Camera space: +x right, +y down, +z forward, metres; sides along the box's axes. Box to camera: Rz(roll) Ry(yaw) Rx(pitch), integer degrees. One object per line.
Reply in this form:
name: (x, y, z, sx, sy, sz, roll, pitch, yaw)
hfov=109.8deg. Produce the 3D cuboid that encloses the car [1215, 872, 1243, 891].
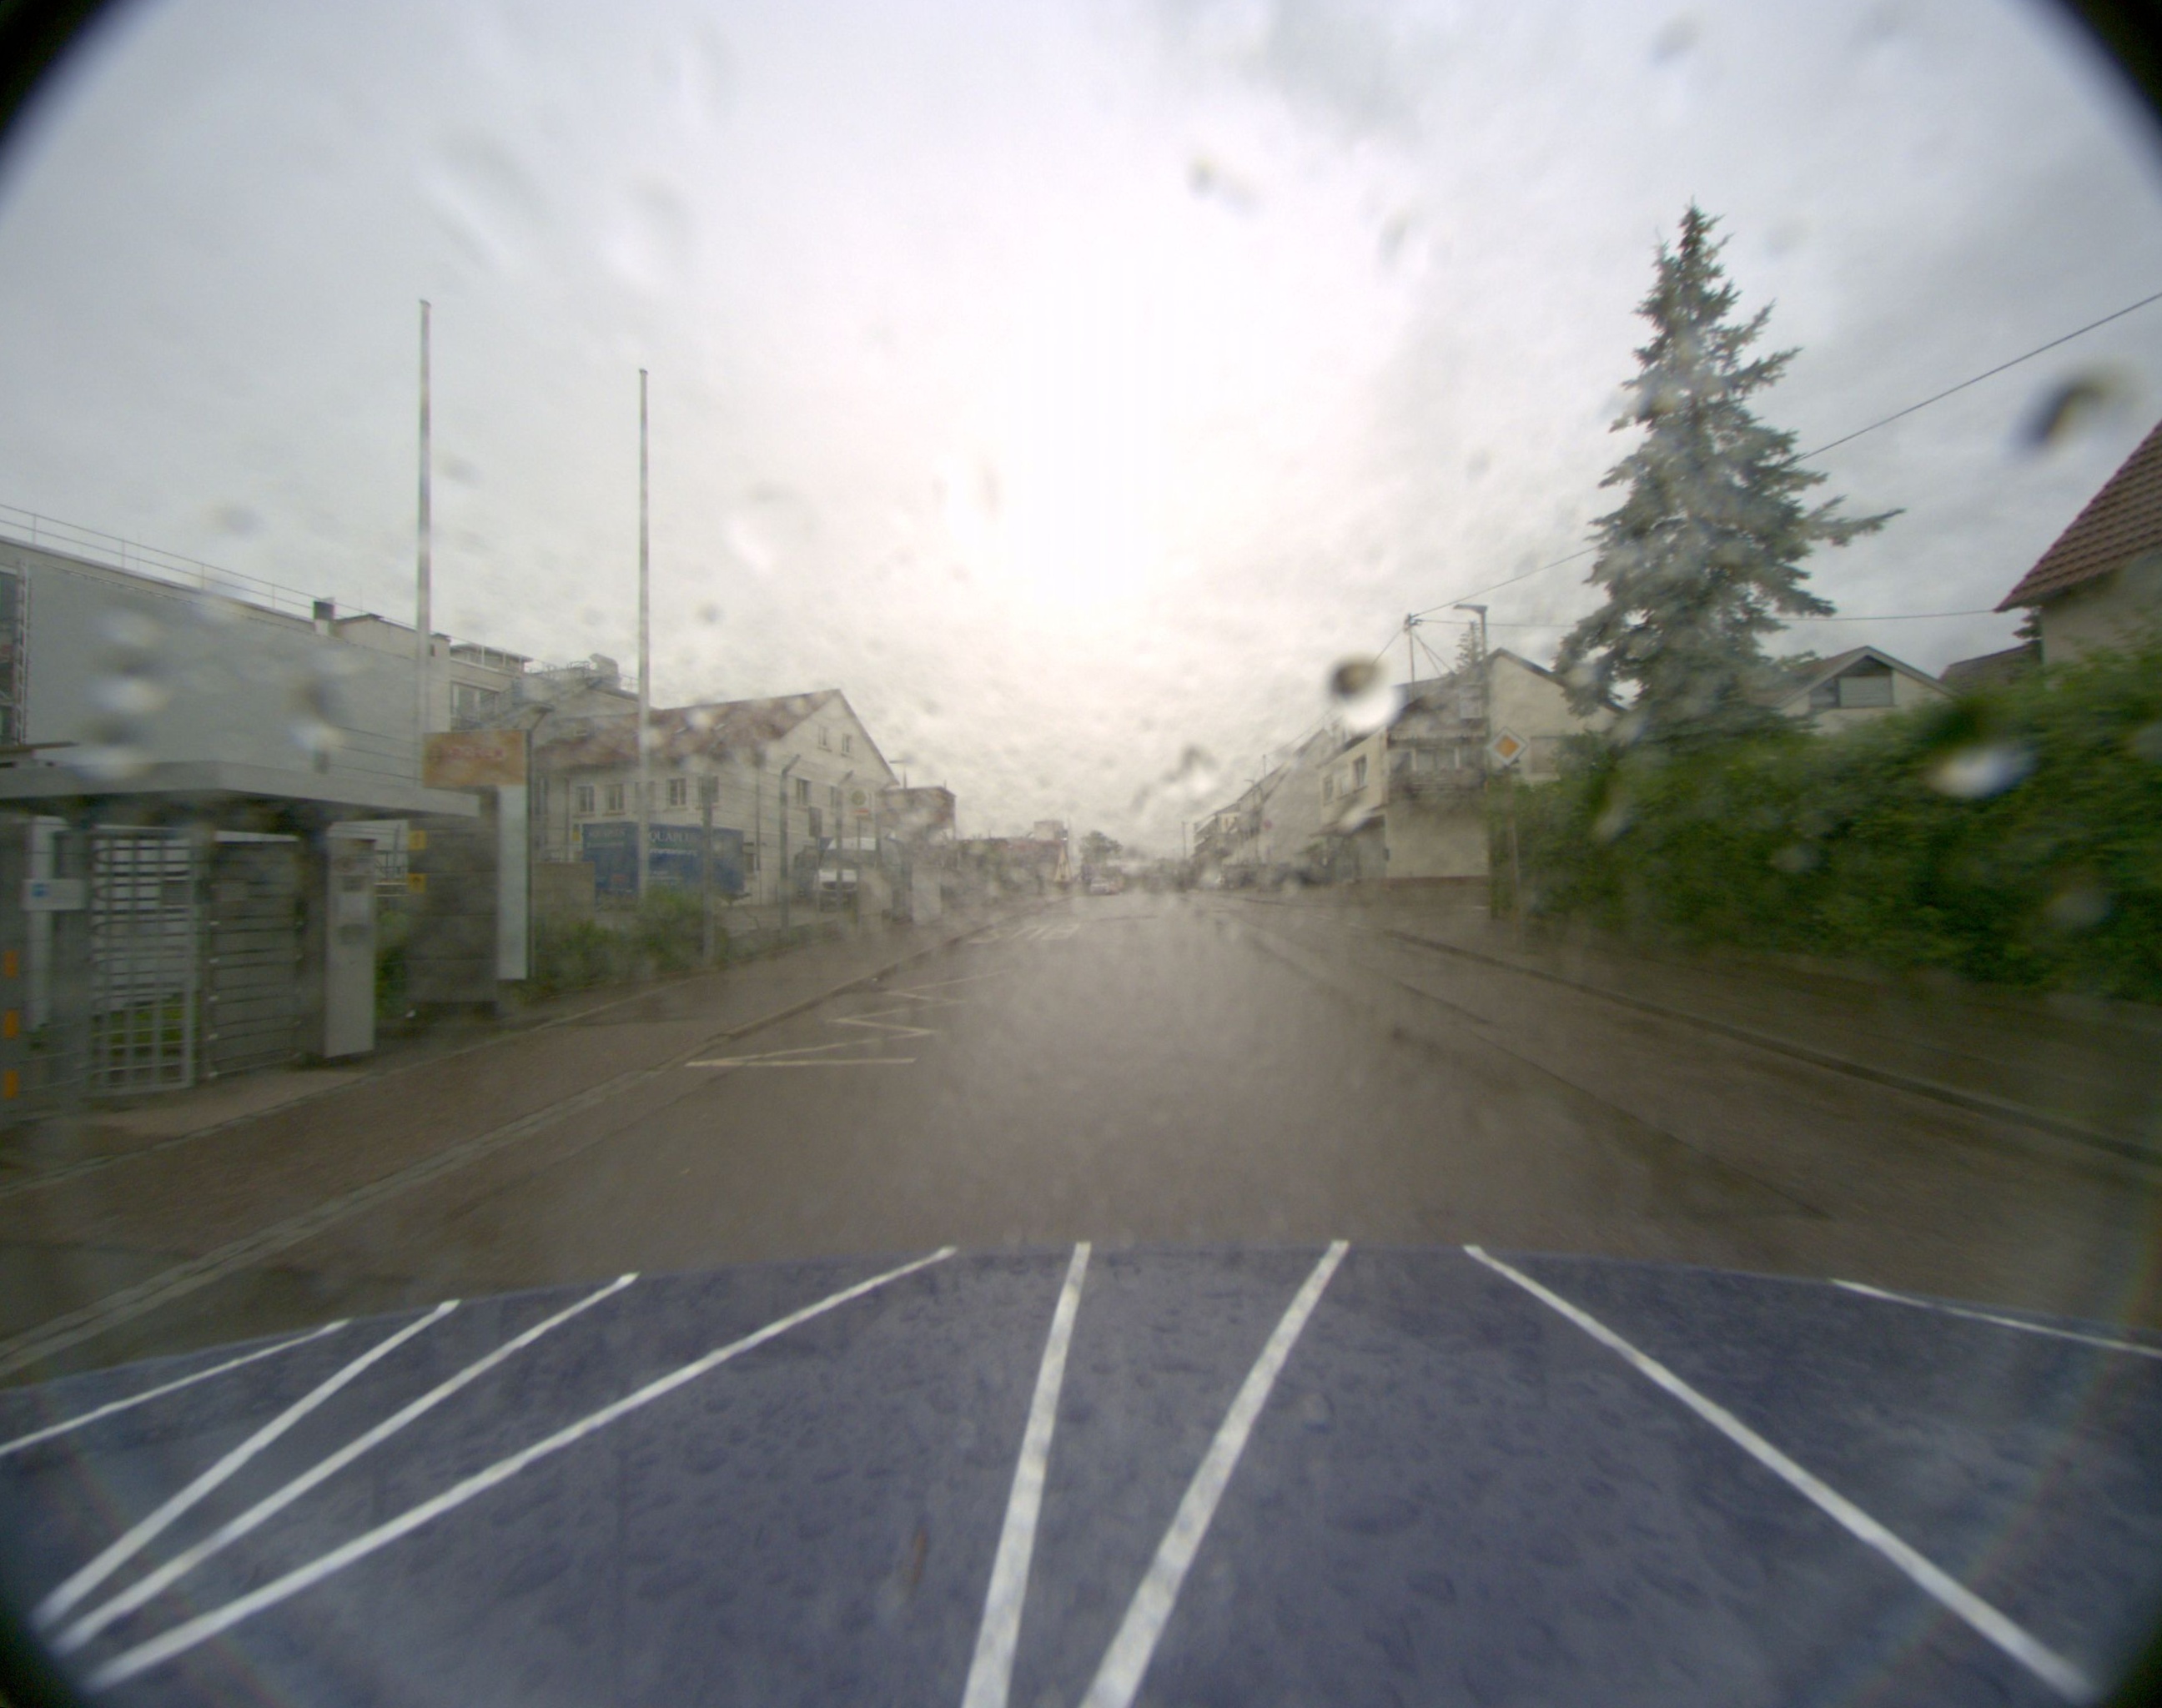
car: (13.173, 2.448, 67.773, 1.897, 1.523, 4.001, 0, 0, 2)

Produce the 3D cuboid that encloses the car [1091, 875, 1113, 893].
car: (1.888, 2.634, 67.380, 1.897, 1.537, 4.001, 0, 0, 2)

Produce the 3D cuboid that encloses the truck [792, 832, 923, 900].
truck: (-10.504, 0.541, 36.618, 2.322, 2.951, 7.141, -1, 0, 18)

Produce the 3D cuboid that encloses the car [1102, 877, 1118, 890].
car: (3.567, 3.613, 93.019, 1.897, 1.470, 4.001, 0, 0, 2)

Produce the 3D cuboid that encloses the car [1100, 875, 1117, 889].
car: (3.056, 3.081, 84.301, 1.897, 1.470, 4.001, 0, 0, 2)

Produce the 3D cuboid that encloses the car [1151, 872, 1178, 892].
car: (6.816, 2.260, 62.629, 1.897, 1.523, 4.001, 0, 0, 2)

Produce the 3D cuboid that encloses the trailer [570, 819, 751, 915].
trailer: (-14.198, 0.385, 26.030, 2.631, 2.874, 4.637, -4, 0, 20)

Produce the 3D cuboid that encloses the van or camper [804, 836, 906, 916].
van or camper: (-7.723, 0.691, 26.630, 2.090, 2.480, 5.803, 0, 0, -3)
